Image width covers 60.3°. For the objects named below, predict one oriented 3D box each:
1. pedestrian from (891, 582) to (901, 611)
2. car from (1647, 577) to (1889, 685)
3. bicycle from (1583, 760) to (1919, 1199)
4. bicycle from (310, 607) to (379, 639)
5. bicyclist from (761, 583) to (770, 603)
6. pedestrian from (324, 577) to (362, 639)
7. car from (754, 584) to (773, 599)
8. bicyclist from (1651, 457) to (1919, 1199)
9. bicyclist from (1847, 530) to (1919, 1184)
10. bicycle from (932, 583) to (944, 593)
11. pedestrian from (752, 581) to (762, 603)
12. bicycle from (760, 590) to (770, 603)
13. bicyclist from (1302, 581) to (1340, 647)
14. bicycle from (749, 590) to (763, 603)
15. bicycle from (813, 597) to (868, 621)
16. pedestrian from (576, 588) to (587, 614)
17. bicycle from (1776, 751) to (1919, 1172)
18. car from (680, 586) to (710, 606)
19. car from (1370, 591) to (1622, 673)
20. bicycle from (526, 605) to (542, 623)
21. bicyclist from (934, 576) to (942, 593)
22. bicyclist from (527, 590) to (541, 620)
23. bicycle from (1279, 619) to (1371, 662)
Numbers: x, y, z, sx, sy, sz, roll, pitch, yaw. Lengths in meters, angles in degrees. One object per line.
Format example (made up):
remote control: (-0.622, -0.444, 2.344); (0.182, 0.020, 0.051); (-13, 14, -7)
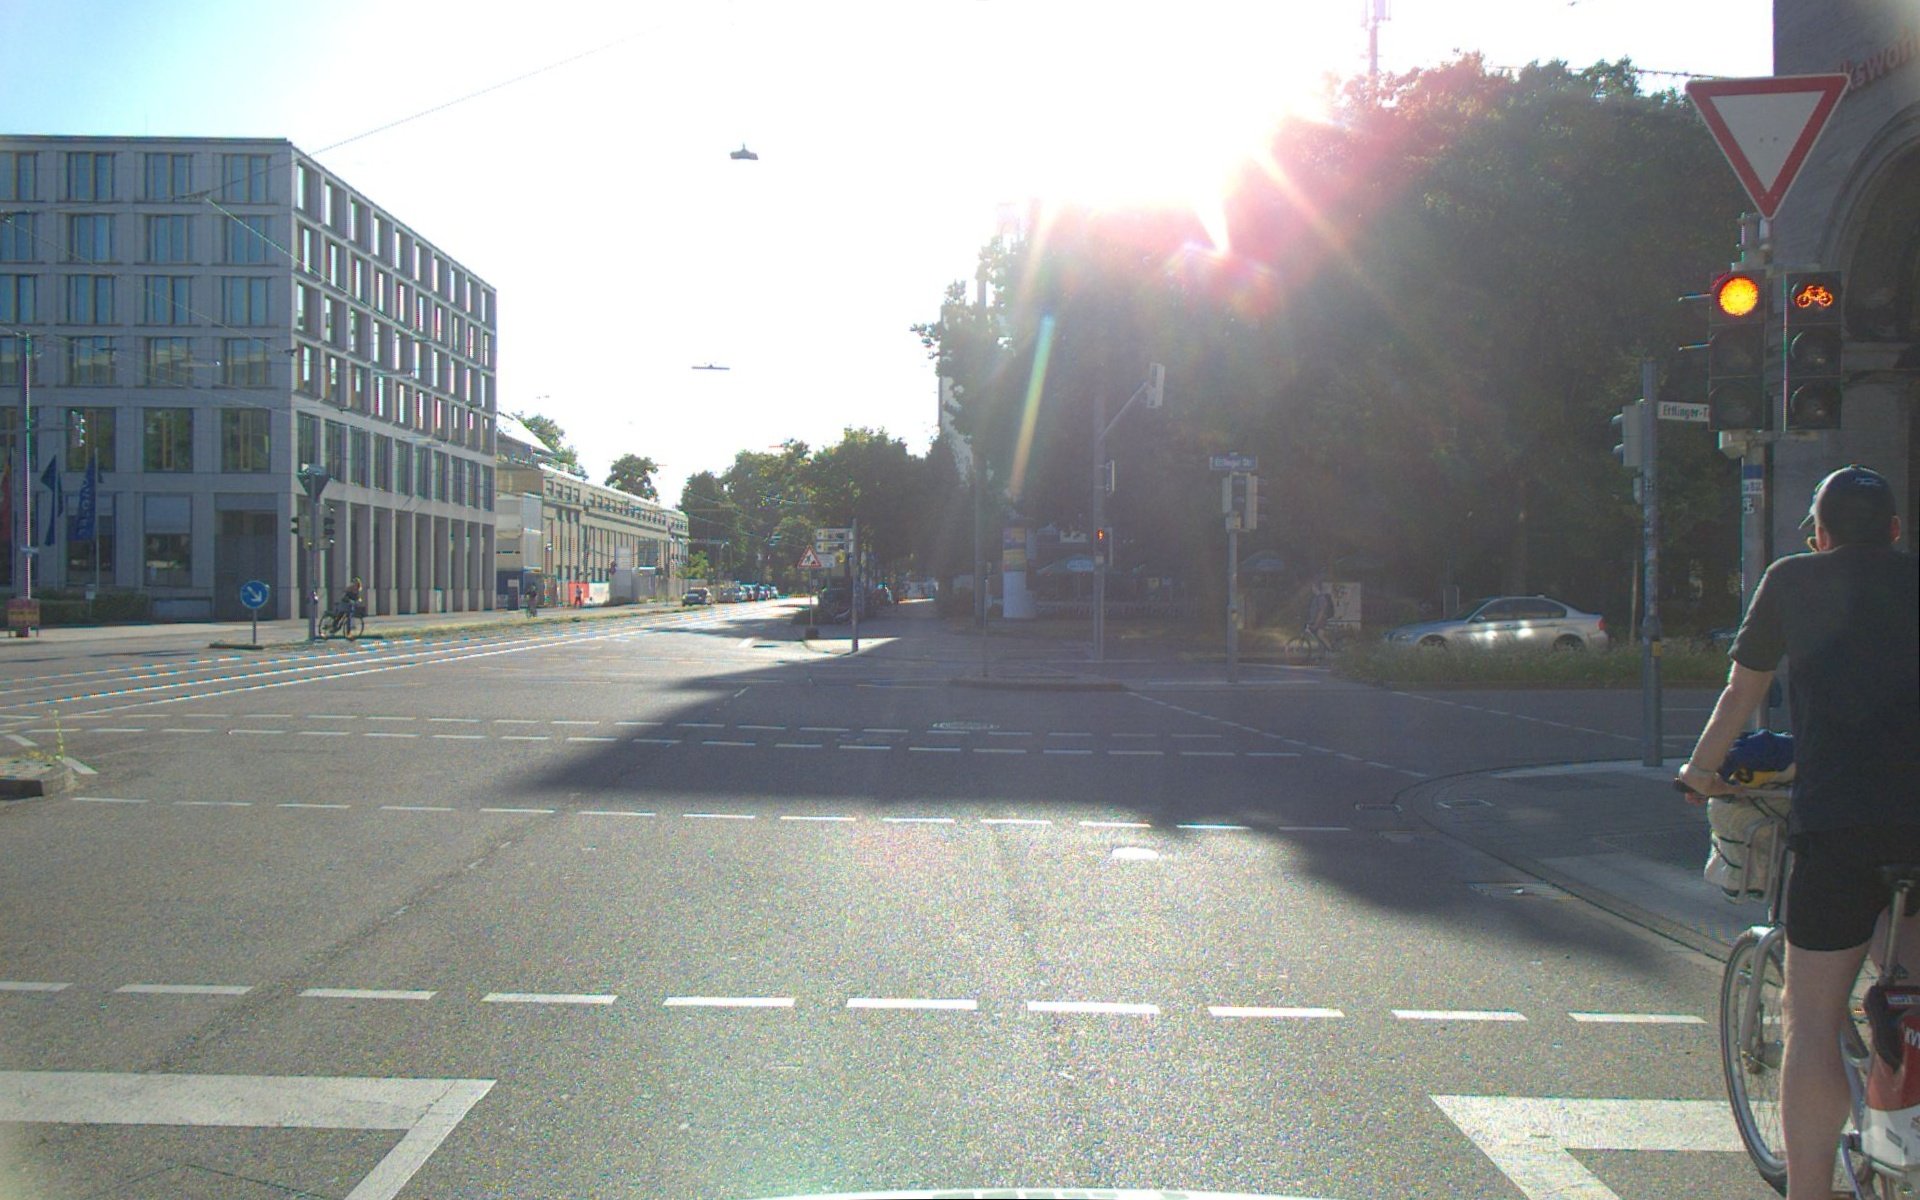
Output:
pedestrian: (-3.767, -0.213, 97.528); (0.566, 1.719, 0.584); (0, 0, -8)
car: (16.225, 0.615, 33.377); (3.905, 2.049, 2.000); (1, 0, 0)
bicycle: (2.133, 1.000, 3.911); (0.610, 1.062, 1.746); (0, 0, -2)
bicycle: (-16.235, 0.605, 43.610); (1.676, 0.837, 0.574); (0, 0, 14)
bicyclist: (-19.590, -0.719, 166.321); (0.735, 1.953, 1.214); (1, 0, -2)
pedestrian: (-16.270, 0.206, 43.612); (0.726, 1.623, 0.574); (0, 0, 14)
car: (-23.060, -1.009, 194.354); (1.954, 1.673, 3.997); (0, 0, -4)
bicyclist: (2.137, 0.572, 3.899); (0.610, 1.745, 0.912); (0, 0, -2)
bicyclist: (2.879, 0.695, 4.351); (0.572, 1.769, 0.950); (0, 0, 0)
bicycle: (-2.678, -1.475, 200.453); (0.875, 1.240, 2.785); (1, 0, -12)
pedestrian: (-19.799, -0.762, 161.004); (0.735, 2.099, 1.050); (1, -1, 5)
bicycle: (-19.597, -0.322, 166.438); (0.735, 1.226, 3.107); (1, 0, -2)
bicyclist: (7.953, 0.309, 36.490); (0.731, 1.431, 0.702); (1, -1, 6)
bicycle: (-19.845, -0.320, 160.937); (0.735, 1.226, 3.109); (1, 0, 5)
bicycle: (-4.855, 0.351, 67.138); (2.201, 0.956, 0.653); (0, 0, -6)
pedestrian: (-28.673, 0.087, 125.259); (0.575, 1.922, 0.478); (1, -1, 16)
bicycle: (2.880, 1.016, 4.386); (0.570, 1.062, 1.747); (0, 0, 0)
car: (-21.677, -0.354, 135.422); (1.954, 1.627, 3.997); (0, 1, -3)
car: (10.847, 0.634, 33.722); (4.483, 1.543, 2.000); (1, 0, -1)
bicycle: (-21.657, 0.705, 84.093); (0.484, 0.854, 1.156); (0, 0, 2)
bicyclist: (-2.688, -1.881, 200.473); (0.875, 2.049, 0.746); (1, -1, -12)
bicyclist: (-21.662, 0.246, 84.081); (0.484, 1.525, 0.666); (0, 0, 2)
bicycle: (8.031, 0.884, 36.483); (1.902, 0.905, 0.718); (1, 0, 5)
